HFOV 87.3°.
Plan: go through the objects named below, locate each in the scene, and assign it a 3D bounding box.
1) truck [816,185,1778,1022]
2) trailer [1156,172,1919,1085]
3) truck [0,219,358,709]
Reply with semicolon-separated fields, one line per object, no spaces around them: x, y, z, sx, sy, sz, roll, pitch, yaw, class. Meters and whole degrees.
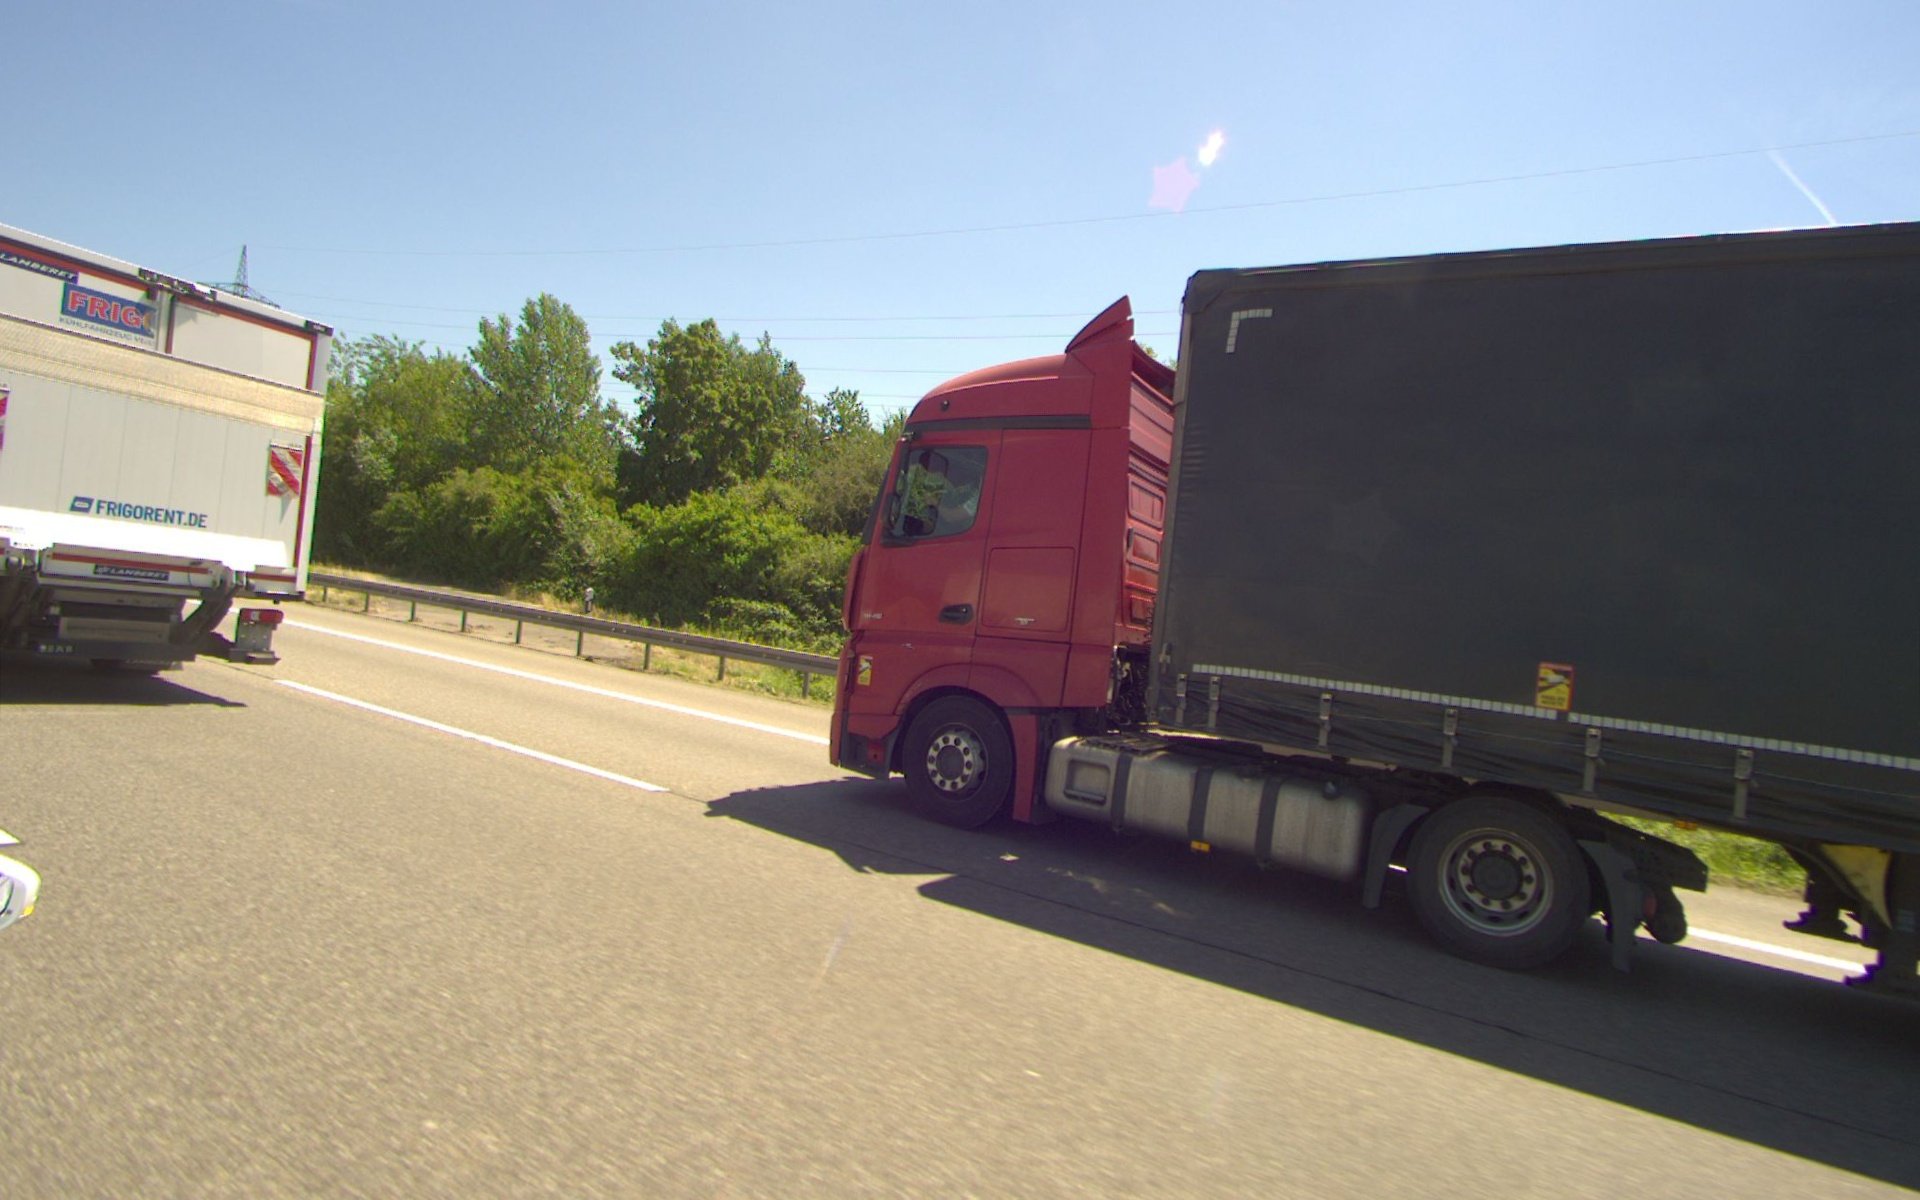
2.188;-0.131;7.718;5.628;4.214;2.799;7;0;32;truck
7.856;0.517;4.157;13.349;4.214;2.793;7;-1;32;trailer
-9.710;-1.221;9.937;7.992;3.413;2.787;6;-1;31;truck
